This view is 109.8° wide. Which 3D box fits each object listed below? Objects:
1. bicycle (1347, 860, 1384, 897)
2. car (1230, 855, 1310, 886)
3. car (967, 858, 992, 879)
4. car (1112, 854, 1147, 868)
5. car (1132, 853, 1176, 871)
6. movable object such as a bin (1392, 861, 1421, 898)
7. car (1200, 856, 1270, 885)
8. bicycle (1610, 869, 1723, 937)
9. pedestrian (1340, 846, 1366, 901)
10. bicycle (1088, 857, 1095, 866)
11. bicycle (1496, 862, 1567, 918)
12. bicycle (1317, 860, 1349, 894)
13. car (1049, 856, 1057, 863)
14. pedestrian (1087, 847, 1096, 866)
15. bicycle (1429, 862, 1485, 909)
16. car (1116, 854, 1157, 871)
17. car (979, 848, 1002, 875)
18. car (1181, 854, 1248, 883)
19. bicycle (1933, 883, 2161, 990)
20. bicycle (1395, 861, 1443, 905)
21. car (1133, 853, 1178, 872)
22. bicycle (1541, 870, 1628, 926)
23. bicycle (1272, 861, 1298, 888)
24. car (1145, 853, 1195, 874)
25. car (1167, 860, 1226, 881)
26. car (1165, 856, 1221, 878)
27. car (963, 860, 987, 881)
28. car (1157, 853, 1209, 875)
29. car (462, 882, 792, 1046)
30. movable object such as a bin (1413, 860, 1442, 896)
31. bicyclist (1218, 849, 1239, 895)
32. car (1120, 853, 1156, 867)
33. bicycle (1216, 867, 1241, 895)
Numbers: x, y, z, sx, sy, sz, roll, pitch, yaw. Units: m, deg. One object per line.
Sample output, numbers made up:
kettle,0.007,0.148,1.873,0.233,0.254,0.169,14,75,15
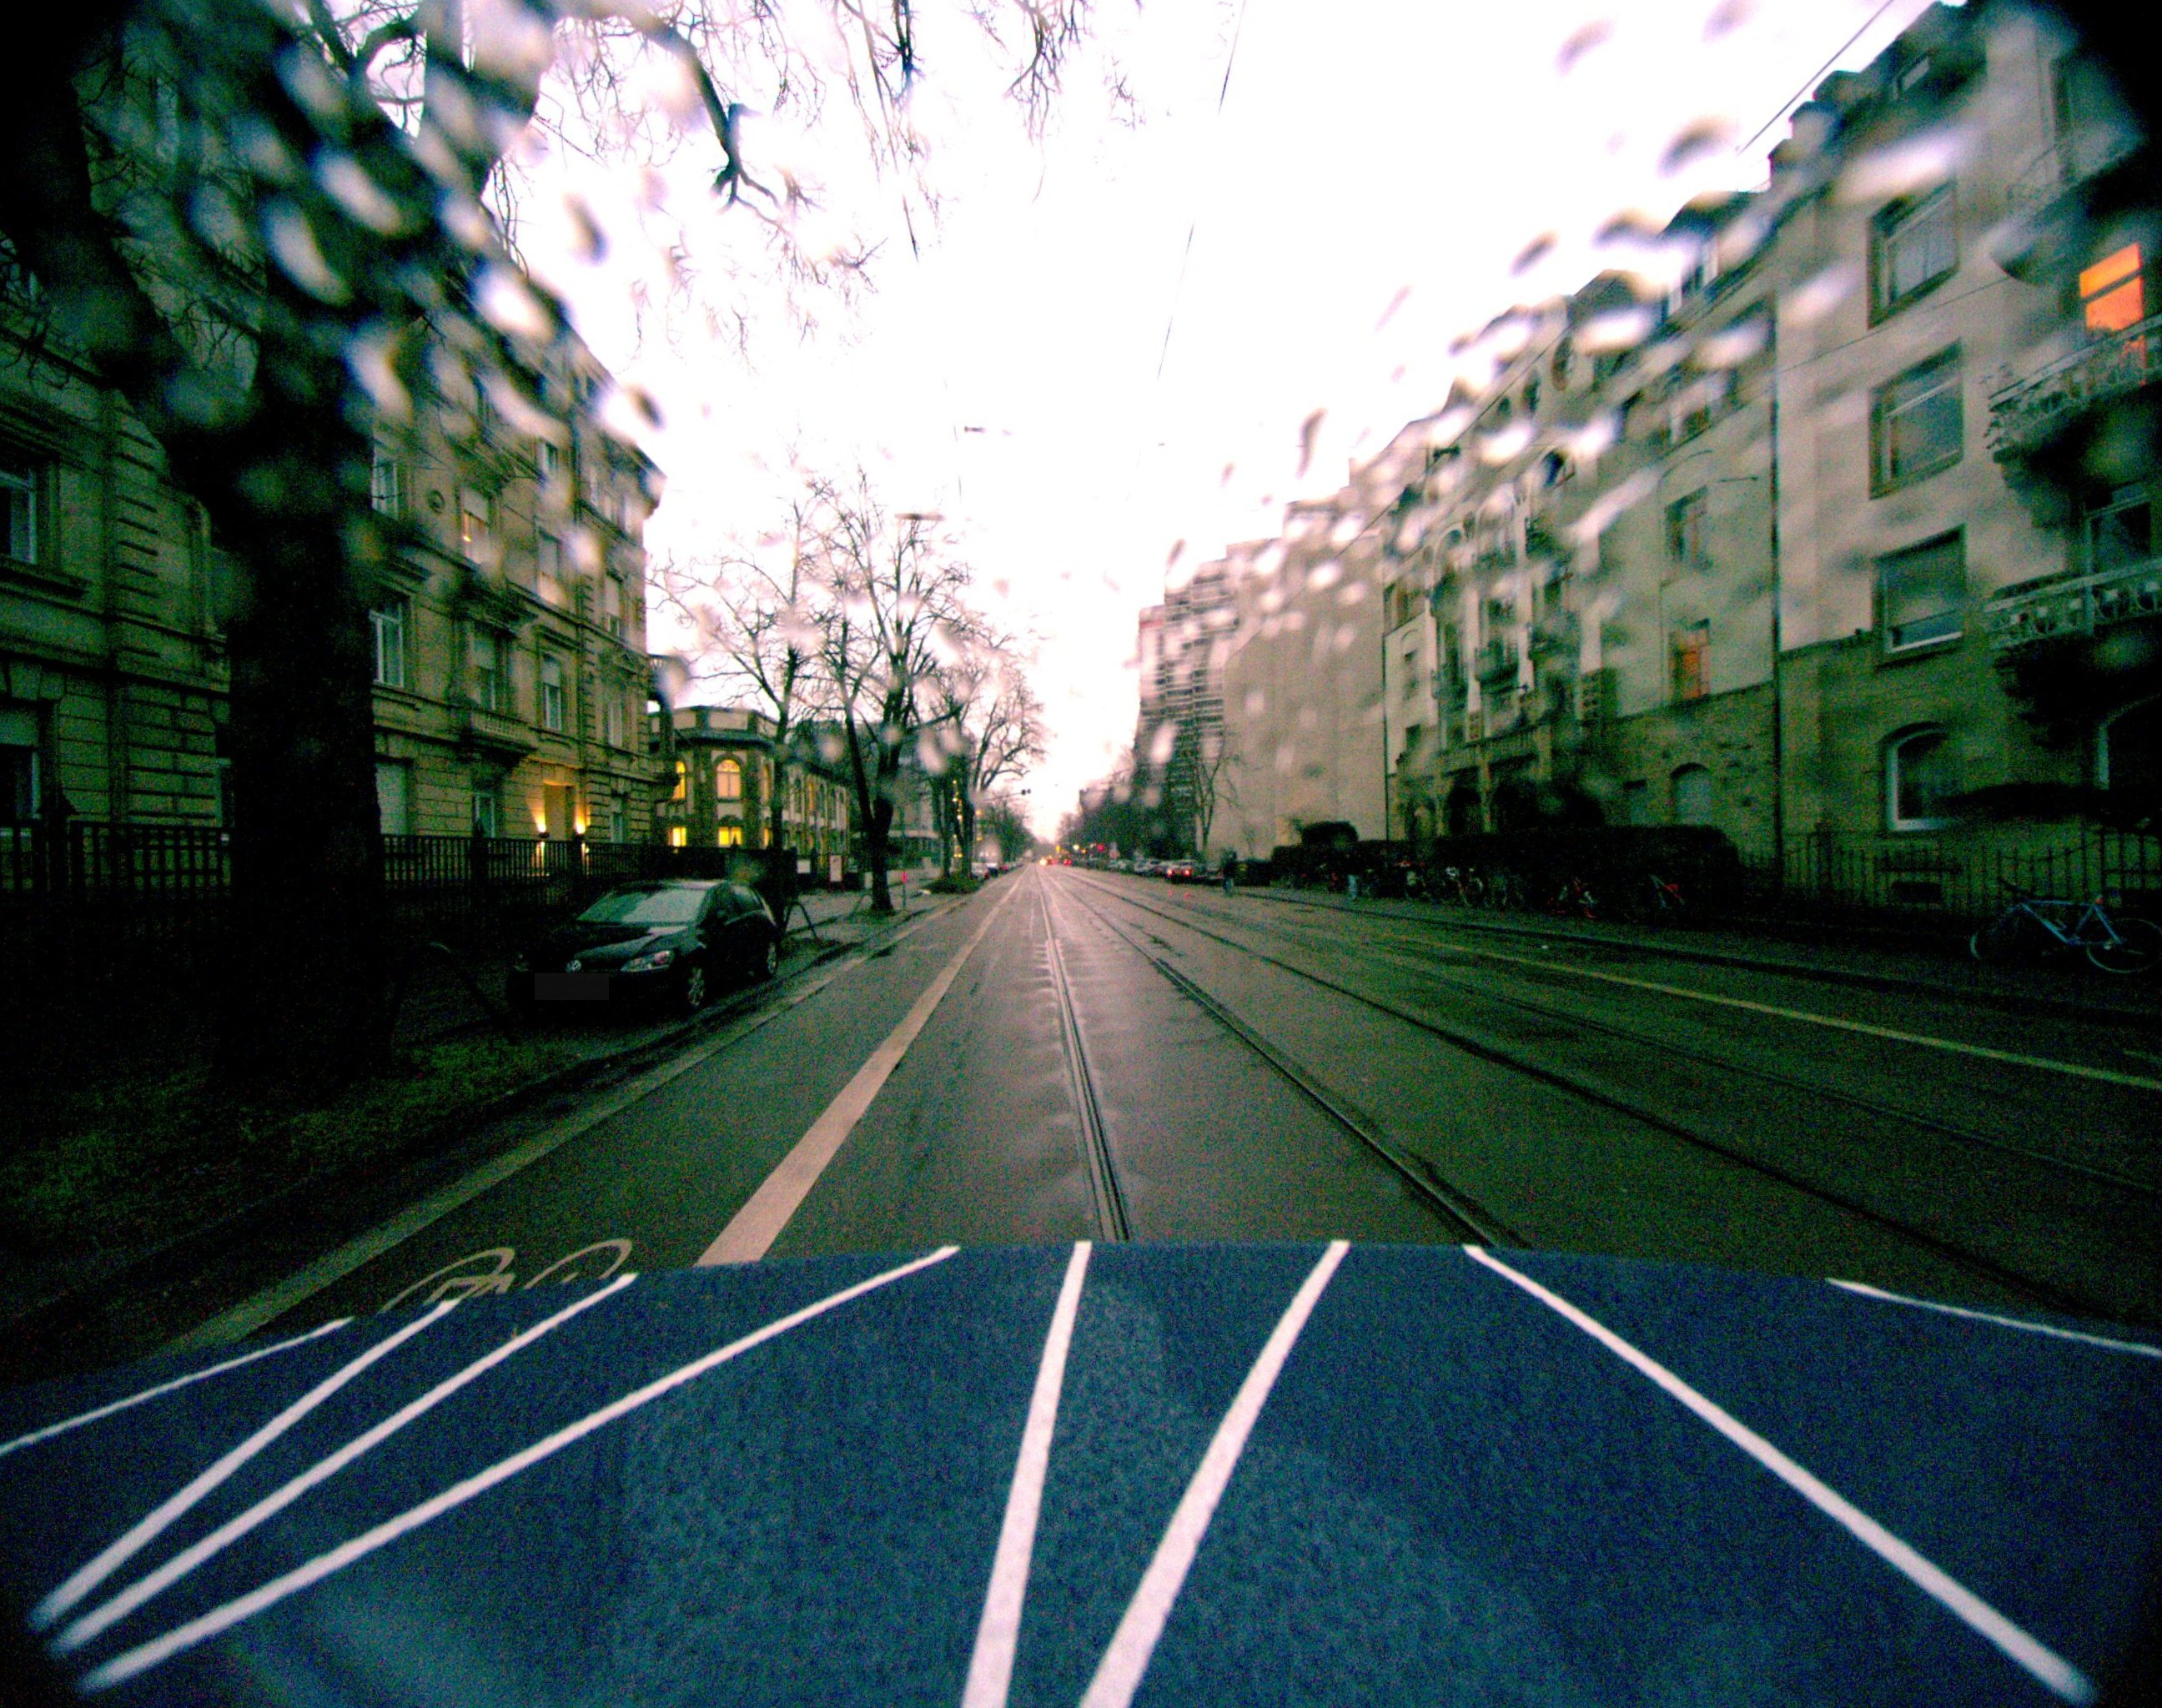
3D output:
bicycle,9.800,0.823,26.215,0.625,1.205,1.662,-1,0,-1
car,10.166,0.845,40.731,4.006,1.485,1.864,-2,0,-32
car,-8.911,1.236,67.070,2.000,1.672,3.997,-2,1,-6
car,5.850,0.797,91.479,4.008,1.586,1.864,-2,0,-40
car,7.001,0.759,72.536,4.008,1.586,1.864,-2,0,-40
movable object such as a bin,10.550,0.812,24.638,0.659,1.157,0.674,-1,0,-1
car,8.765,0.905,43.149,4.008,1.477,1.760,-2,0,-40
bicycle,10.490,0.843,13.695,0.625,1.119,1.783,-1,0,-1
pedestrian,8.769,0.630,24.506,0.574,1.715,0.644,-3,2,1
bicycle,1.327,0.925,94.533,0.858,0.986,1.918,-2,1,1
bicycle,10.322,0.794,17.474,0.625,1.205,1.662,-1,0,-1
bicycle,9.494,0.843,28.660,0.625,1.205,1.662,-1,0,-1
car,-8.651,1.778,233.390,2.239,2.002,4.458,-2,1,-5
pedestrian,1.308,0.287,94.524,0.952,2.246,1.119,-2,1,2
bicycle,9.986,0.818,20.236,0.625,1.157,1.662,-1,0,-1
car,5.679,0.891,77.933,4.008,1.586,1.864,-2,0,-40
car,-9.158,0.708,77.064,2.094,2.622,5.446,-2,1,-6
car,8.122,0.860,46.064,4.008,1.586,1.864,-2,0,-40
bicycle,10.748,0.863,8.463,0.625,0.997,1.662,-1,0,-1
bicycle,9.900,0.827,22.292,0.625,1.205,1.662,-1,0,-1
car,6.835,0.785,69.530,4.008,1.586,1.864,-2,0,-40
bicycle,10.370,0.875,15.730,0.625,1.059,1.726,-1,0,-1
bicycle,9.080,0.907,33.878,0.625,1.157,1.662,-2,0,-1
car,7.390,0.776,63.054,4.008,1.586,1.864,-2,0,-40
car,7.320,1.037,47.885,3.673,1.245,1.707,0,0,-41
car,8.326,0.962,56.433,4.008,1.440,1.864,-2,0,-40
car,-7.935,1.204,57.150,1.628,1.399,3.997,-2,1,-6
car,8.180,0.805,60.696,4.008,1.586,1.864,-2,0,-40
car,-5.075,1.120,9.271,1.763,1.437,4.156,1,-1,-4
movable object such as a bin,11.220,0.775,24.630,0.625,1.157,0.674,-1,0,-1
bicyclist,6.144,0.740,31.684,0.625,1.865,0.991,-1,0,-1
car,6.733,0.687,89.172,4.008,1.586,1.864,-2,0,-40
bicycle,6.154,1.124,31.872,0.625,1.086,1.947,-1,0,-1
